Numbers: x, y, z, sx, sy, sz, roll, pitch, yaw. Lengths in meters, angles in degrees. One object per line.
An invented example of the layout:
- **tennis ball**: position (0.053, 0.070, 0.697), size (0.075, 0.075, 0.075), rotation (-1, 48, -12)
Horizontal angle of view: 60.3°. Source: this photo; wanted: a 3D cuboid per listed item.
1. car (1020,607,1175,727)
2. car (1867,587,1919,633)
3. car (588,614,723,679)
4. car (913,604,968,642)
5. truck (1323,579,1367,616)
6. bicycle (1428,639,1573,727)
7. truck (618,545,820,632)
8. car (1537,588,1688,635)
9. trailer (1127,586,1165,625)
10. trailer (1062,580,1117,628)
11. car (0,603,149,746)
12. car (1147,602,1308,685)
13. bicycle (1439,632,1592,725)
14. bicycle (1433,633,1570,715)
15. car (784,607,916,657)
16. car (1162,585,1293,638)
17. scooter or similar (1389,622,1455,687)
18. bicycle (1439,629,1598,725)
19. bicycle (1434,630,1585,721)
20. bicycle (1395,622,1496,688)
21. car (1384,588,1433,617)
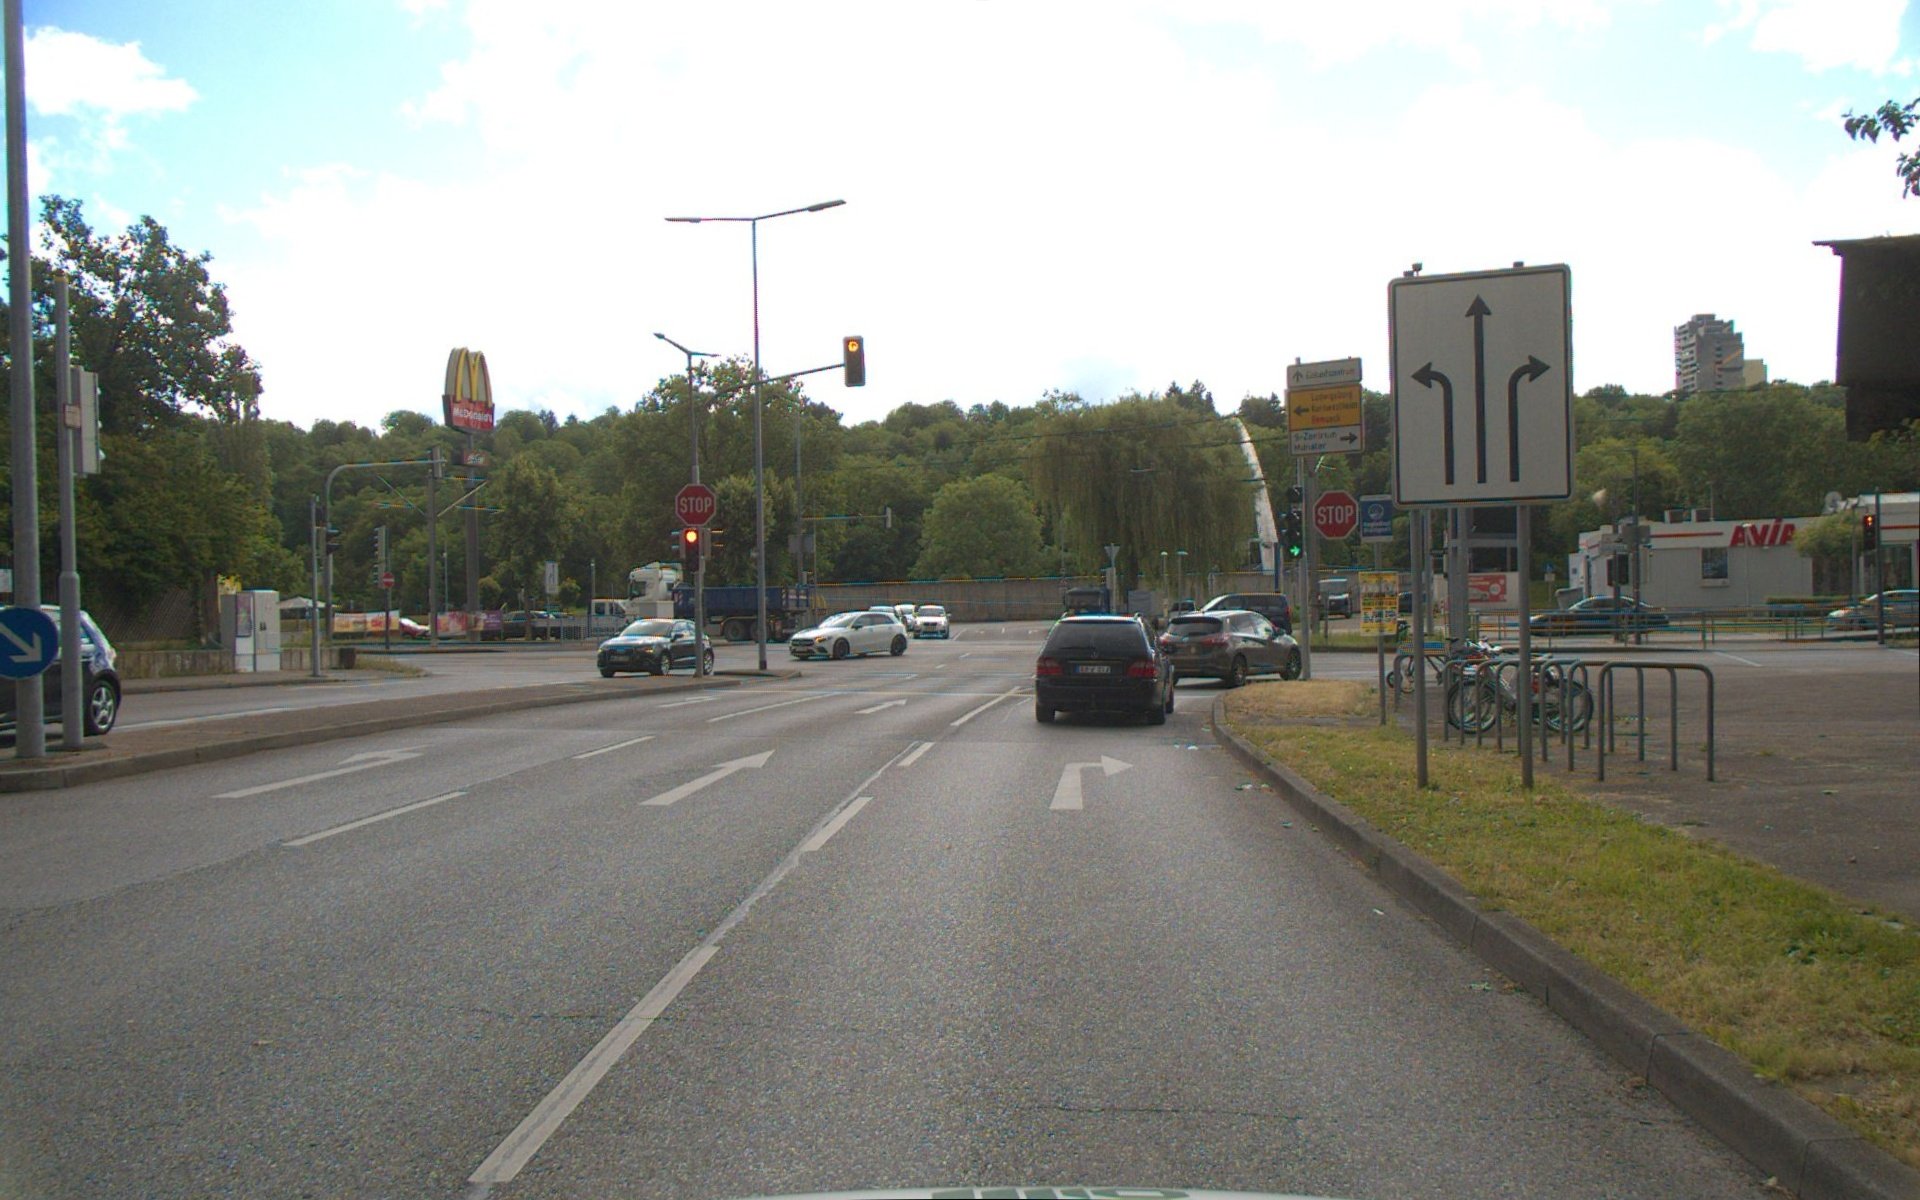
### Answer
- **car**: position (2.075, 0.892, 23.791), size (1.783, 1.536, 4.578), rotation (0, -1, 10)
- **car**: position (33.788, 0.327, 57.458), size (3.691, 1.534, 1.705), rotation (-1, 0, 19)
- **car**: position (-7.510, 1.131, 41.129), size (1.582, 1.441, 3.897), rotation (-2, 0, 18)
- **car**: position (-1.025, 1.195, 88.055), size (1.951, 1.892, 4.003), rotation (-1, 0, 14)
- **truck**: position (23.008, -0.138, 98.947), size (2.187, 2.049, 5.244), rotation (-2, -1, 10)
- **bicycle**: position (7.154, 1.101, 21.951), size (1.740, 1.130, 0.541), rotation (-1, -3, 7)
- **truck**: position (-11.434, -0.484, 78.486), size (8.910, 3.650, 3.220), rotation (-2, -1, 20)
- **car**: position (23.483, 0.429, 59.731), size (4.946, 1.550, 1.744), rotation (-1, 0, 19)
- **trailer**: position (11.035, 0.334, 97.877), size (1.951, 2.222, 4.003), rotation (-2, -1, 10)
- **trailer**: position (7.581, 0.258, 96.245), size (2.302, 2.627, 4.923), rotation (-2, -1, 14)
- **car**: position (-10.192, 0.737, 16.881), size (1.643, 1.390, 4.311), rotation (-1, 0, 1)
- **car**: position (5.644, 0.878, 34.554), size (1.697, 1.557, 4.135), rotation (-2, 0, 34)
- **bicycle**: position (6.904, 0.977, 20.607), size (1.740, 1.130, 0.455), rotation (-1, -1, 12)
- **bicycle**: position (7.579, 1.030, 23.205), size (1.740, 1.130, 0.554), rotation (-1, -1, 7)
- **car**: position (-3.424, 0.990, 52.288), size (1.577, 1.430, 4.266), rotation (-2, 0, 42)
- **car**: position (9.870, 0.418, 61.114), size (4.462, 1.805, 1.603), rotation (-2, 0, -11)
- **scooter or similar**: position (8.622, 1.015, 30.918), size (1.156, 1.190, 0.294), rotation (-1, 0, 14)
- **bicycle**: position (6.715, 0.932, 19.923), size (1.743, 1.130, 0.425), rotation (-2, -2, 26)
- **bicycle**: position (7.059, 0.966, 21.312), size (1.740, 1.130, 0.580), rotation (-1, -1, 7)
- **bicycle**: position (8.602, 0.972, 29.340), size (1.653, 1.130, 0.480), rotation (-1, 1, 7)
- **car**: position (31.145, 0.193, 114.855), size (3.083, 1.850, 1.404), rotation (-2, -1, 6)
